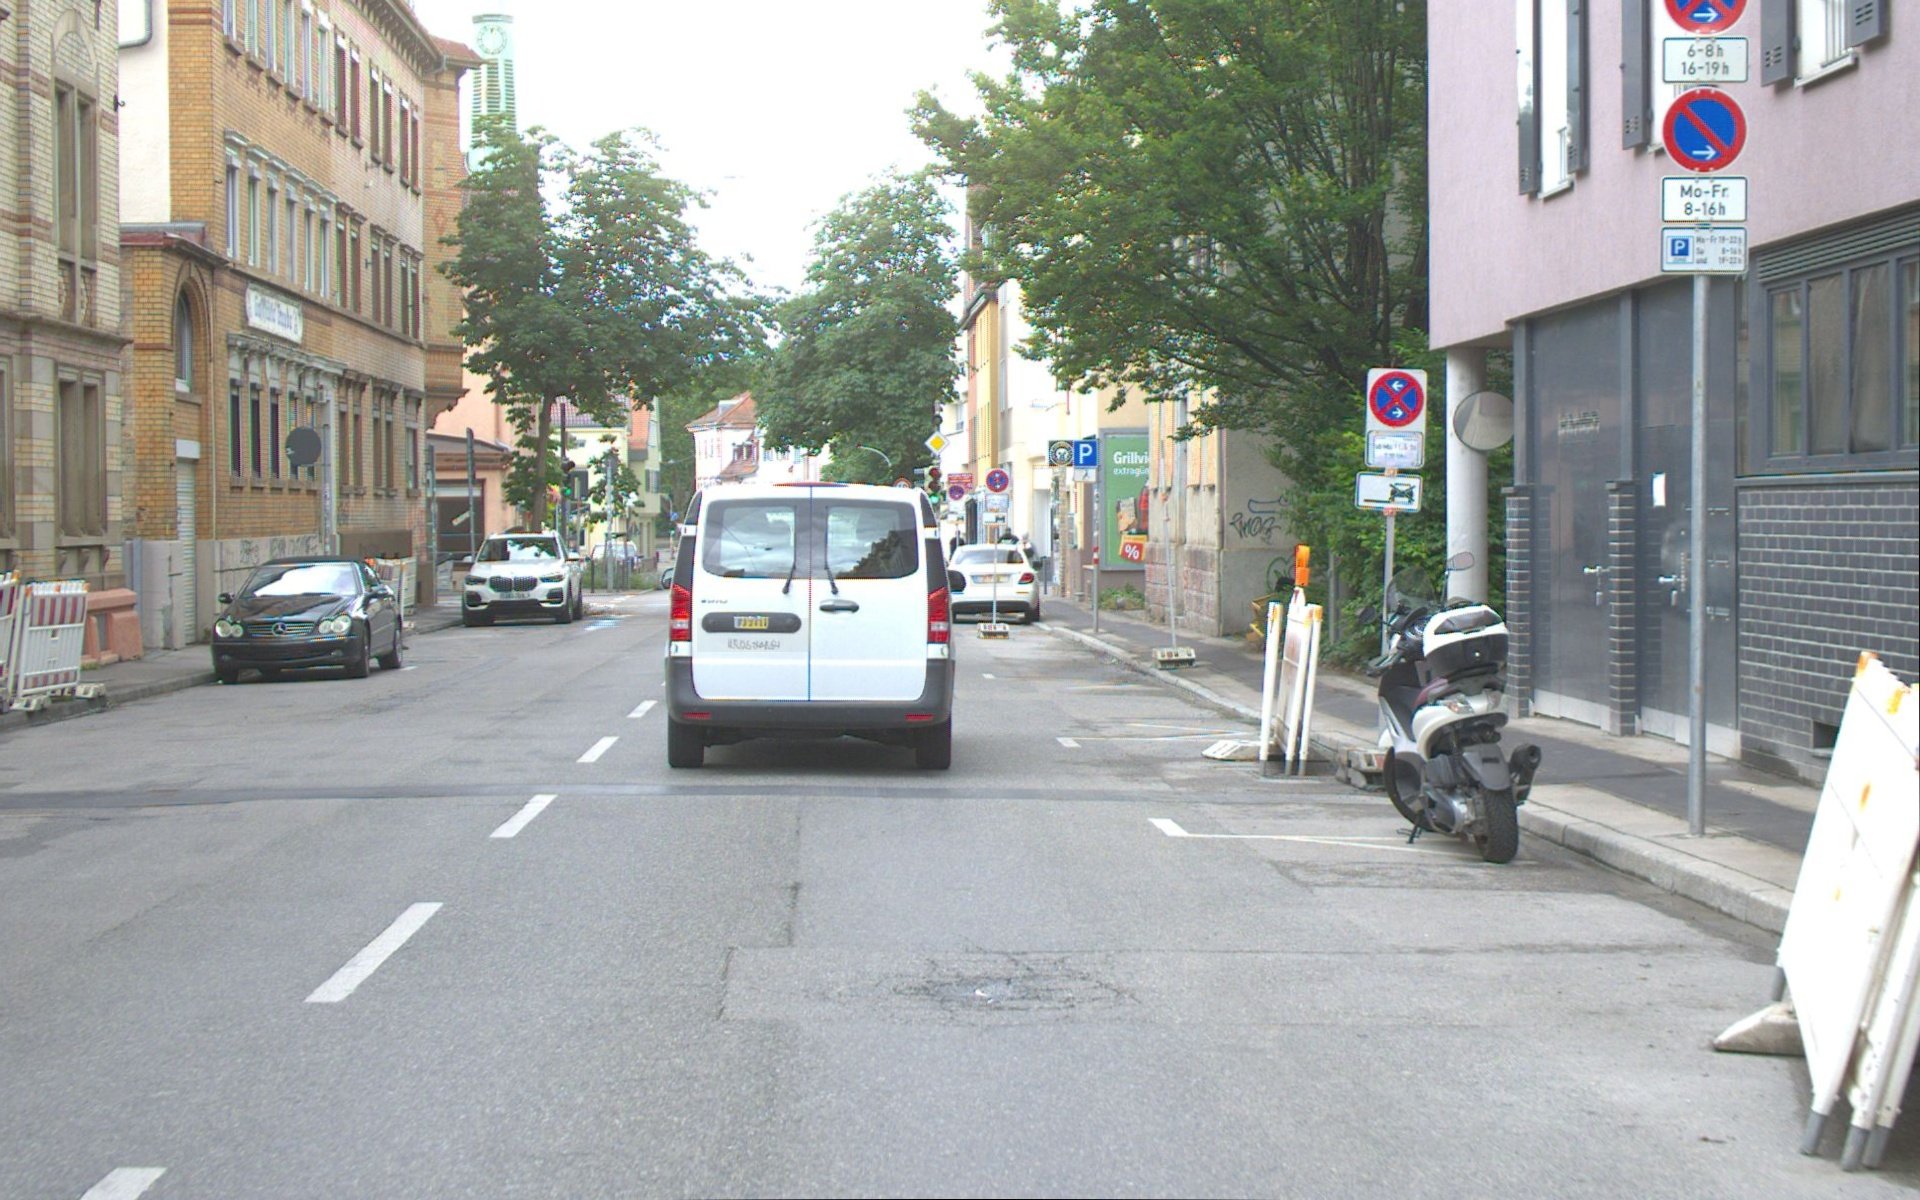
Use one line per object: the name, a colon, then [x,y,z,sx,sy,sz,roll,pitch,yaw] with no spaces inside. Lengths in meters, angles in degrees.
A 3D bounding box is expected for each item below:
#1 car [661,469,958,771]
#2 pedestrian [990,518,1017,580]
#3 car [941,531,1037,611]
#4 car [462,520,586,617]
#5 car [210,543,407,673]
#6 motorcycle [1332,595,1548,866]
car: [-1.050,0.088,23.697,1.872,1.905,4.001,0,1,-3]
pedestrian: [1.175,-1.377,93.118,0.614,1.647,0.983,2,1,-4]
car: [0.555,-0.582,65.823,1.767,1.461,4.783,0,1,0]
car: [-8.244,-0.630,65.350,1.891,1.706,4.742,-2,1,-2]
car: [-7.609,0.054,40.492,1.578,1.378,4.355,-2,1,-2]
motorcycle: [2.376,0.611,17.281,0.646,1.222,2.337,1,1,-2]
